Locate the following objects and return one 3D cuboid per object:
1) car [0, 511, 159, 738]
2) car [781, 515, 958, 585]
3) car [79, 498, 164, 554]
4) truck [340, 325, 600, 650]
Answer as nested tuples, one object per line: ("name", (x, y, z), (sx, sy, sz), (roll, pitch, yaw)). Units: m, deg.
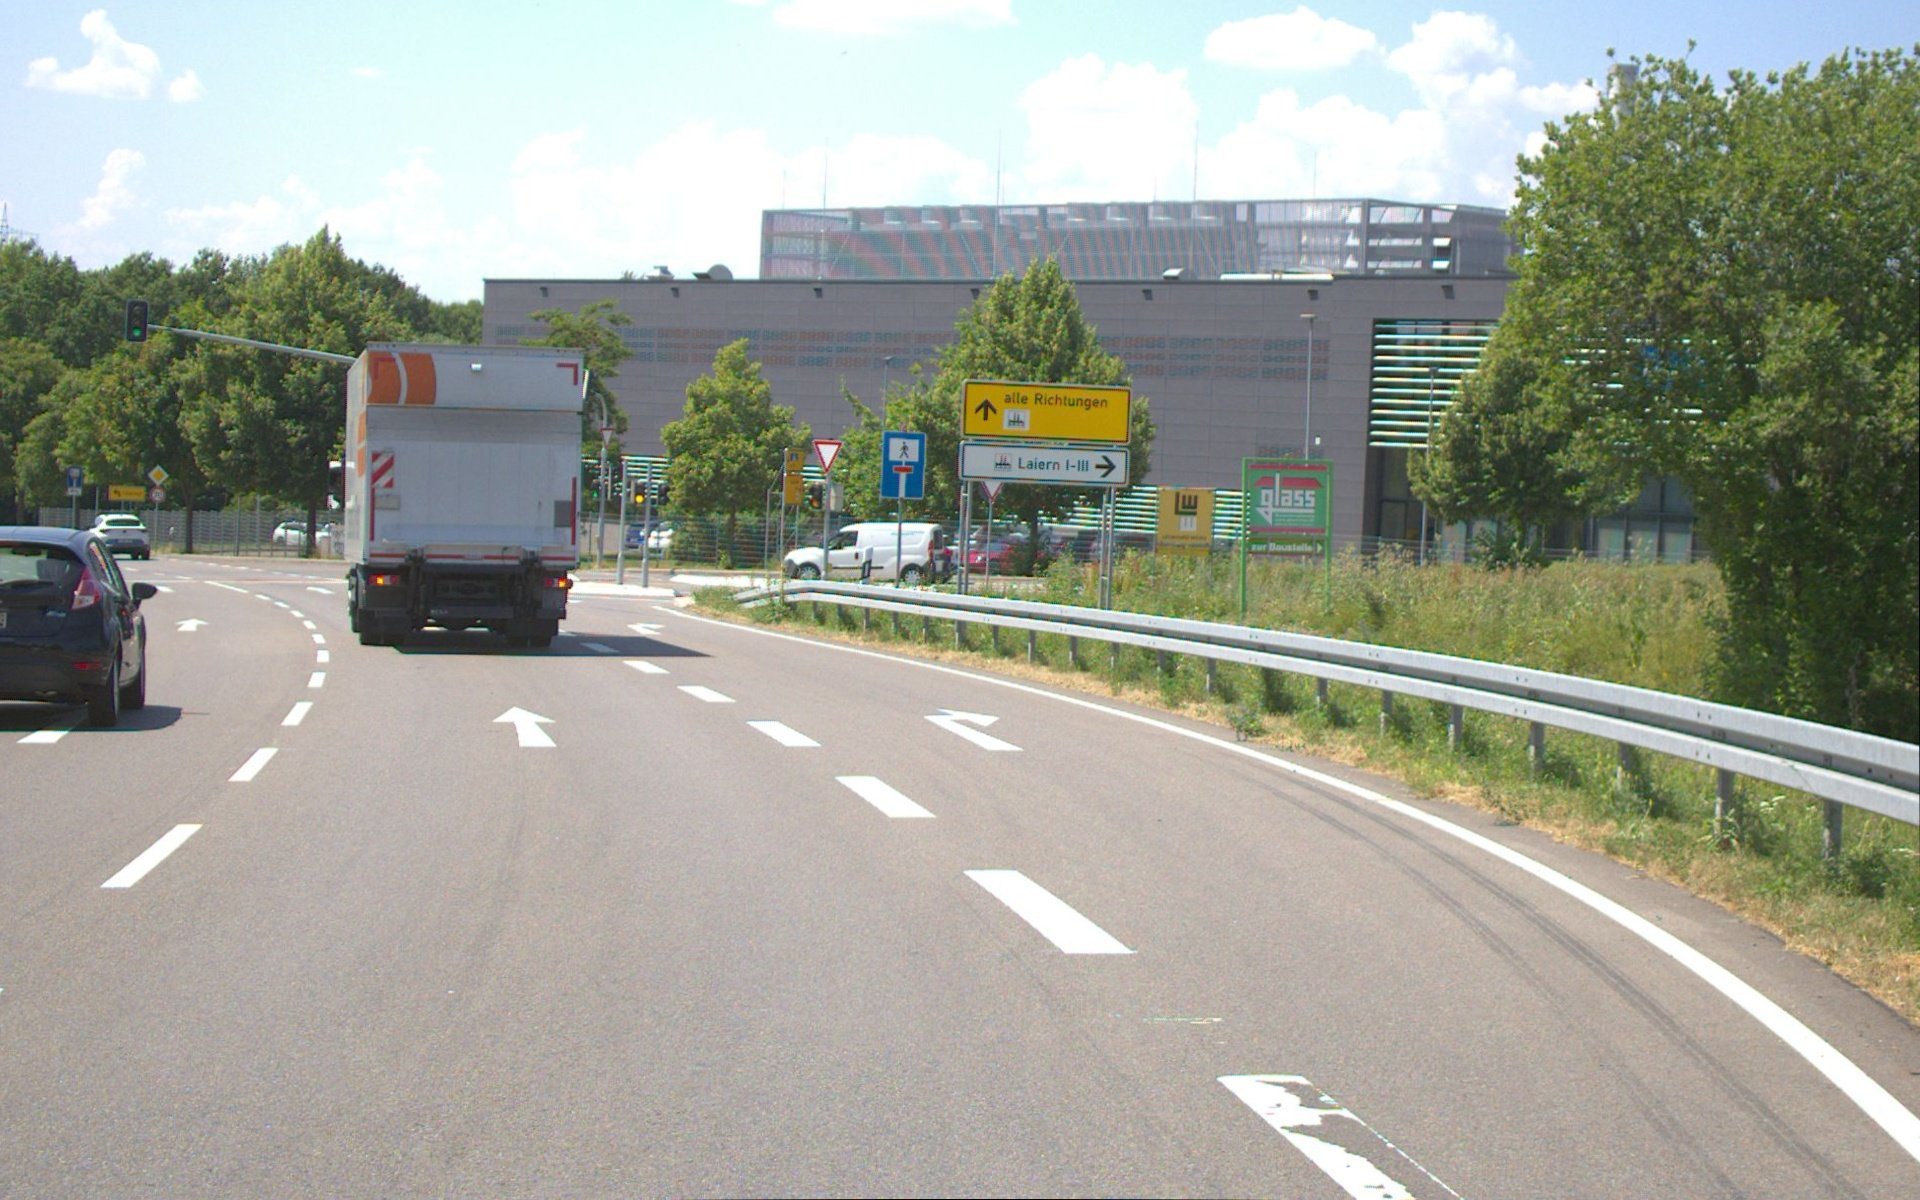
("car", (-7.173, 0.119, 26.489), (1.652, 1.488, 4.209), (2, 2, -10))
("car", (-2.615, -1.464, 100.104), (4.747, 1.925, 2.153), (2, 1, 11))
("car", (-28.182, -2.490, 115.475), (1.943, 1.658, 4.001), (4, 1, -24))
("truck", (-6.505, -1.463, 44.501), (2.803, 3.698, 9.111), (2, 2, -11))
